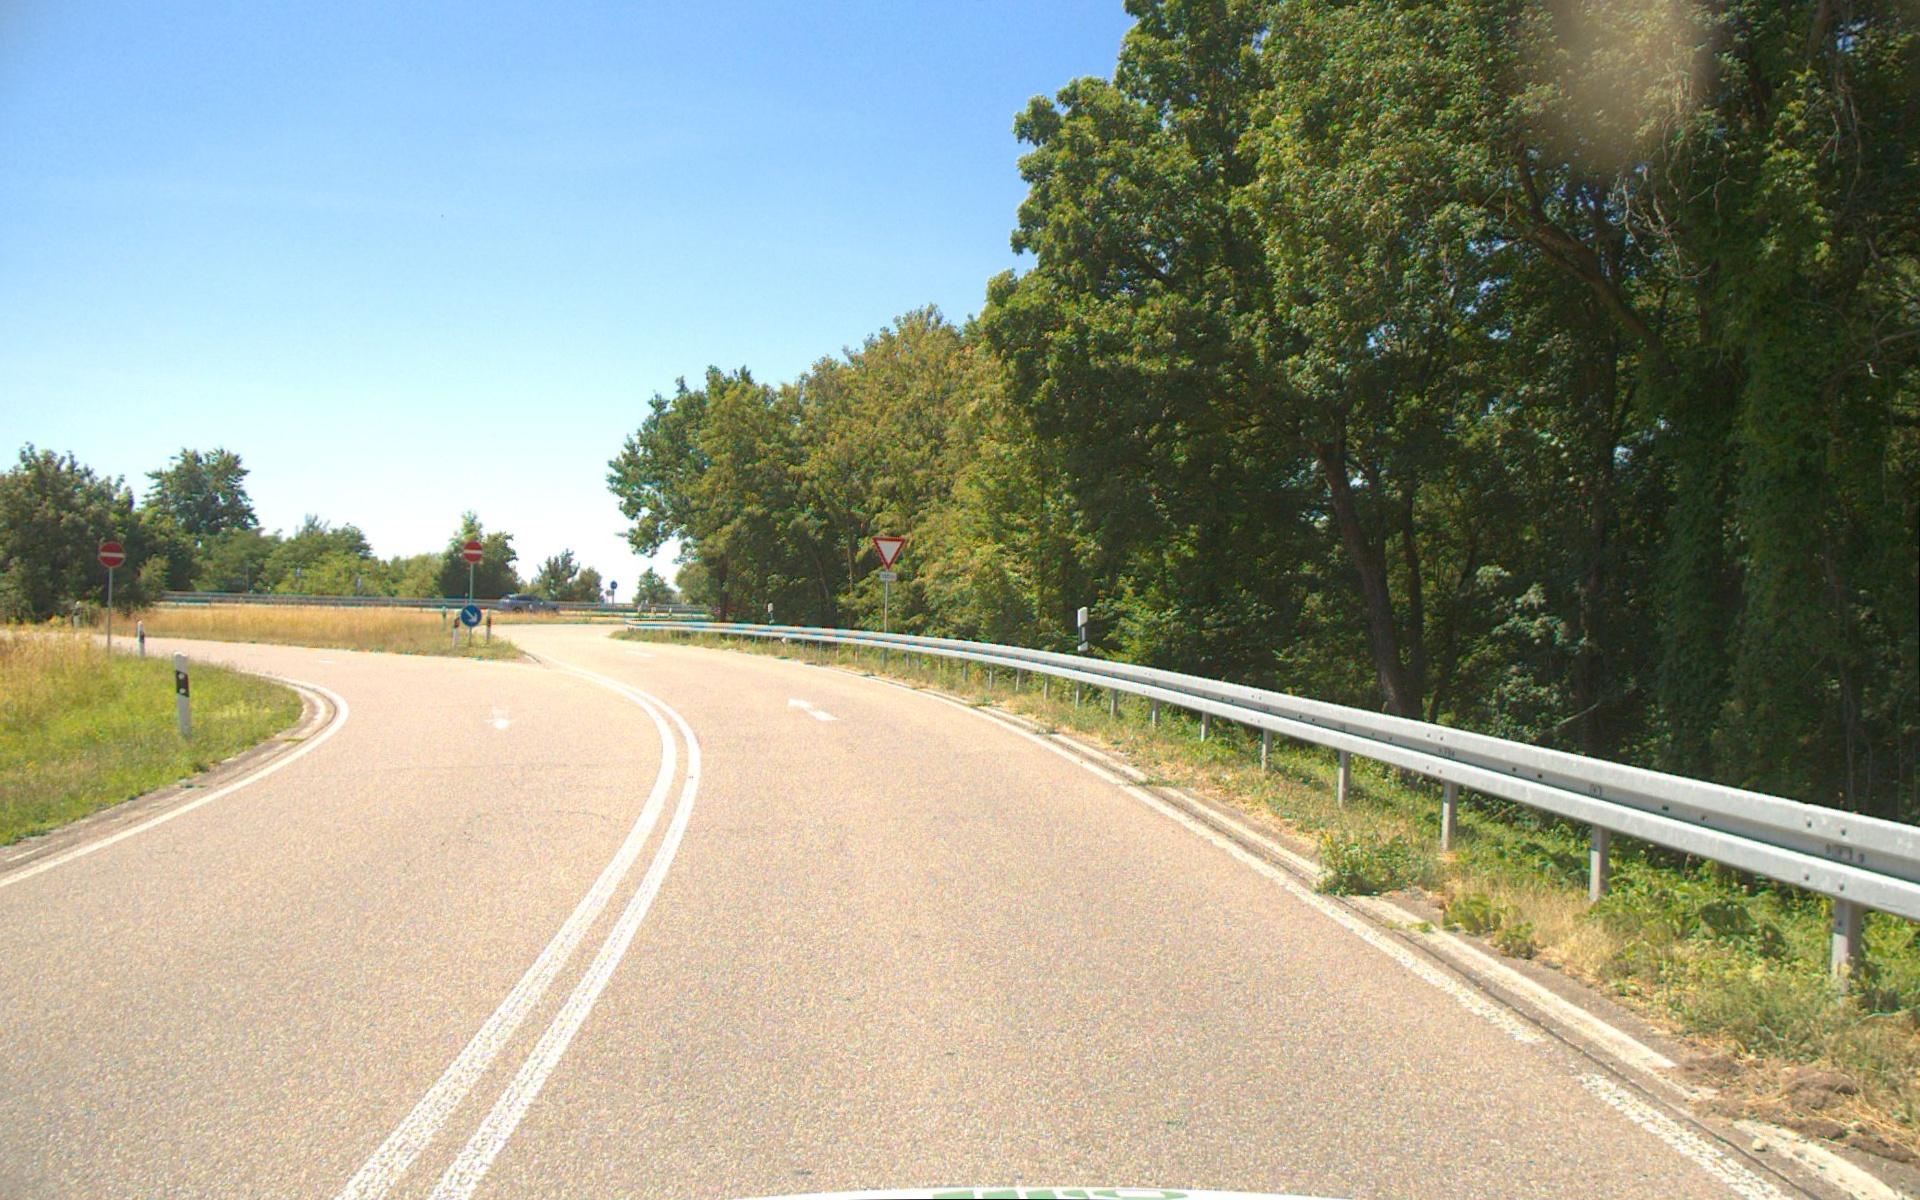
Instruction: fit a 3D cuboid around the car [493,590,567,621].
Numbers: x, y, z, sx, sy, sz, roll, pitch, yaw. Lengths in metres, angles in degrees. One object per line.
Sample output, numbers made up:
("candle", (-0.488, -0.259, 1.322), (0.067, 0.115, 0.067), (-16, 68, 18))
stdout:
("car", (-29.804, 0.400, 114.686), (4.492, 1.961, 1.968), (4, -3, -43))
